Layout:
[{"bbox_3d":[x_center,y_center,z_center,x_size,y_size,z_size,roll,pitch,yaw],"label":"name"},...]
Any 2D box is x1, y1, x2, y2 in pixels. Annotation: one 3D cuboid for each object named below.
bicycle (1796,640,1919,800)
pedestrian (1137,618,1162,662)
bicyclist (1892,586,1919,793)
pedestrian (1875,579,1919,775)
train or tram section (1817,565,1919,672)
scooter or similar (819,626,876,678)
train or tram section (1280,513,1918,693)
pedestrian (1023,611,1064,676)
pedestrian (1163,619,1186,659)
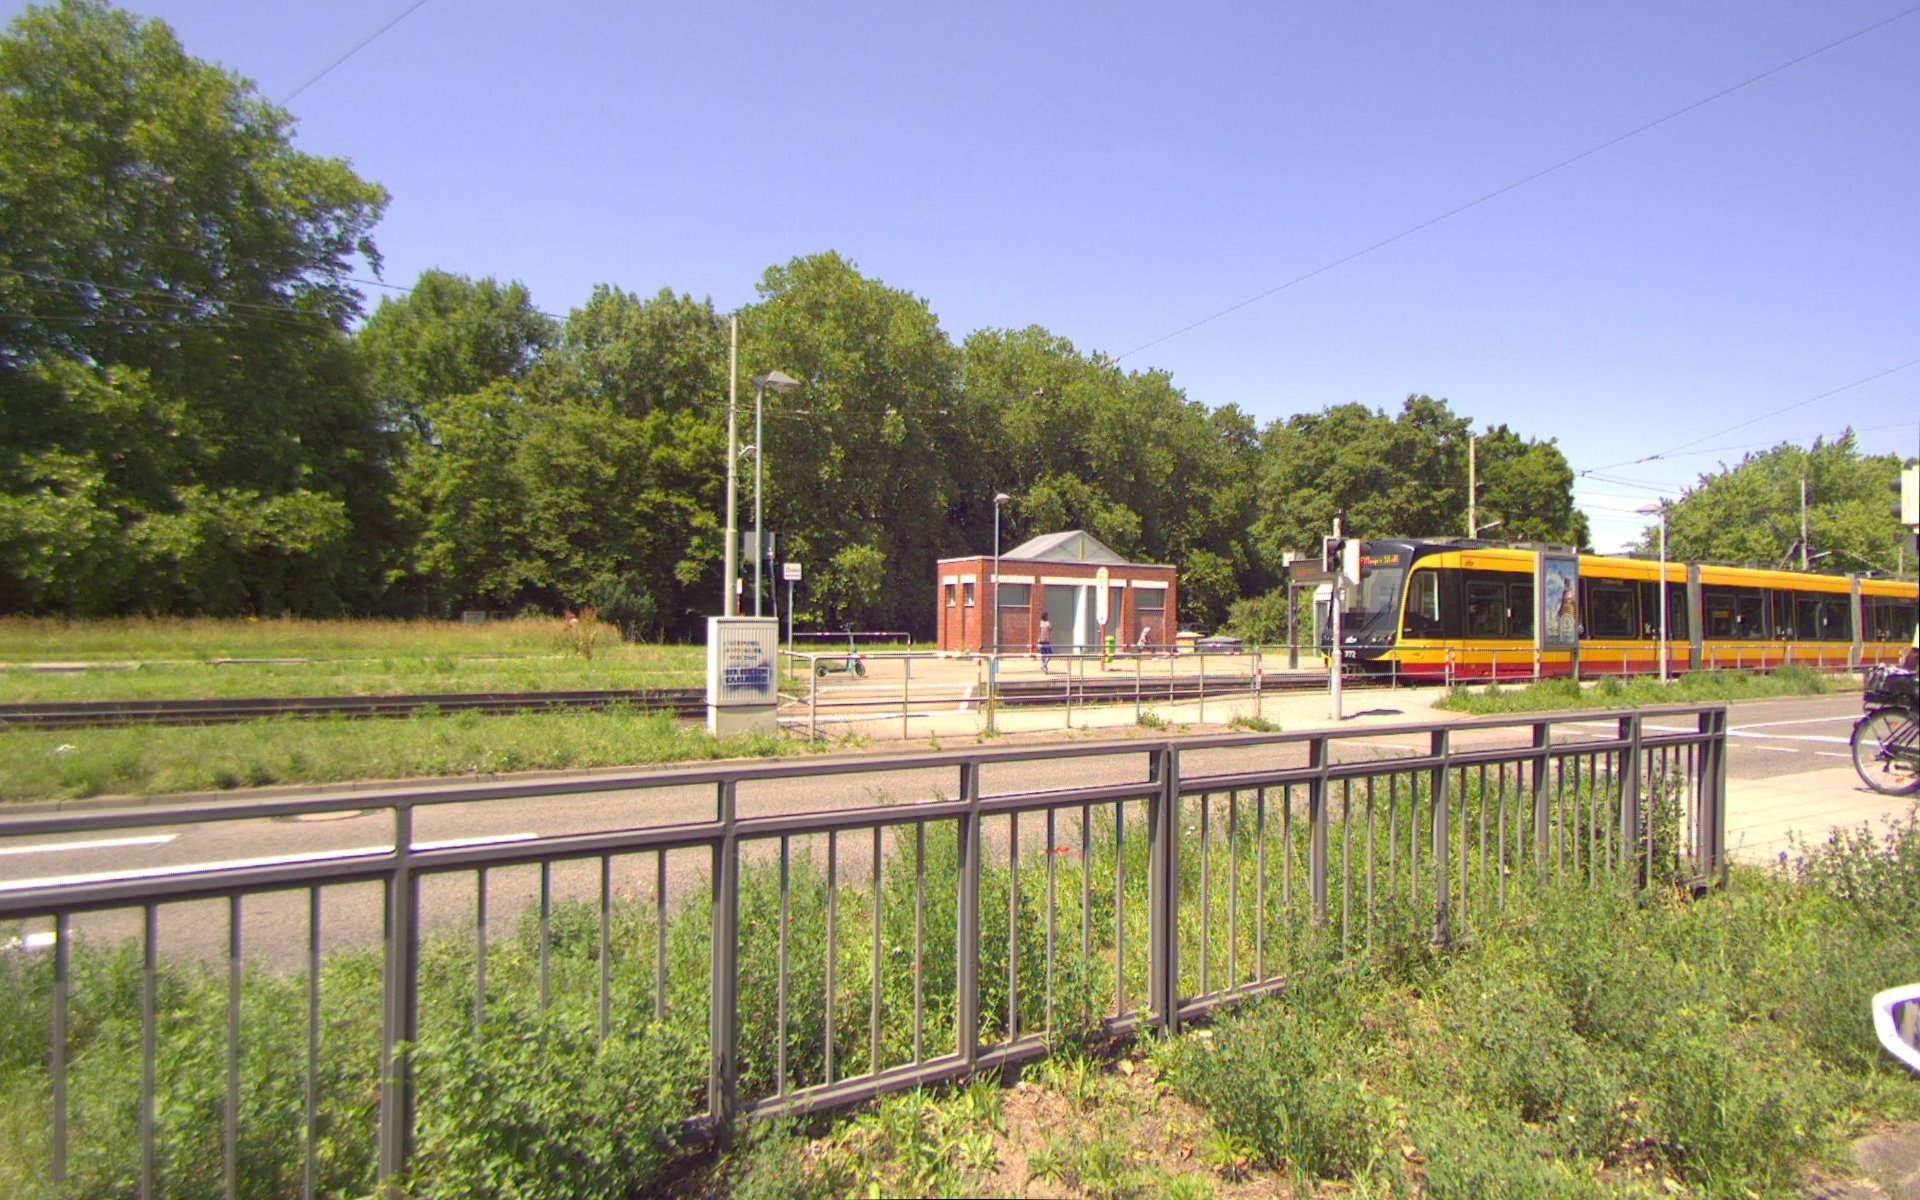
[{"bbox_3d":[7.788,0.981,7.884,0.531,1.177,1.959,-1,2,-11],"label":"bicycle"},{"bbox_3d":[6.611,1.386,35.070,0.563,1.499,0.636,1,-1,-30],"label":"pedestrian"},{"bbox_3d":[8.176,0.742,7.960,0.570,1.689,0.958,-1,2,-12],"label":"bicyclist"},{"bbox_3d":[9.174,0.703,9.321,0.711,1.802,0.836,-1,1,-30],"label":"pedestrian"},{"bbox_3d":[47.897,1.019,45.828,32.699,3.840,2.917,1,-1,-31],"label":"train or tram section"},{"bbox_3d":[-2.632,1.202,23.449,1.217,1.183,0.508,1,-1,-30],"label":"scooter or similar"},{"bbox_3d":[21.047,0.384,29.951,29.680,3.799,2.944,1,-1,-31],"label":"train or tram section"},{"bbox_3d":[2.117,1.099,25.615,0.799,1.611,0.668,1,-1,-30],"label":"pedestrian"},{"bbox_3d":[8.009,1.443,37.440,0.575,1.476,0.637,1,-1,-23],"label":"pedestrian"}]
